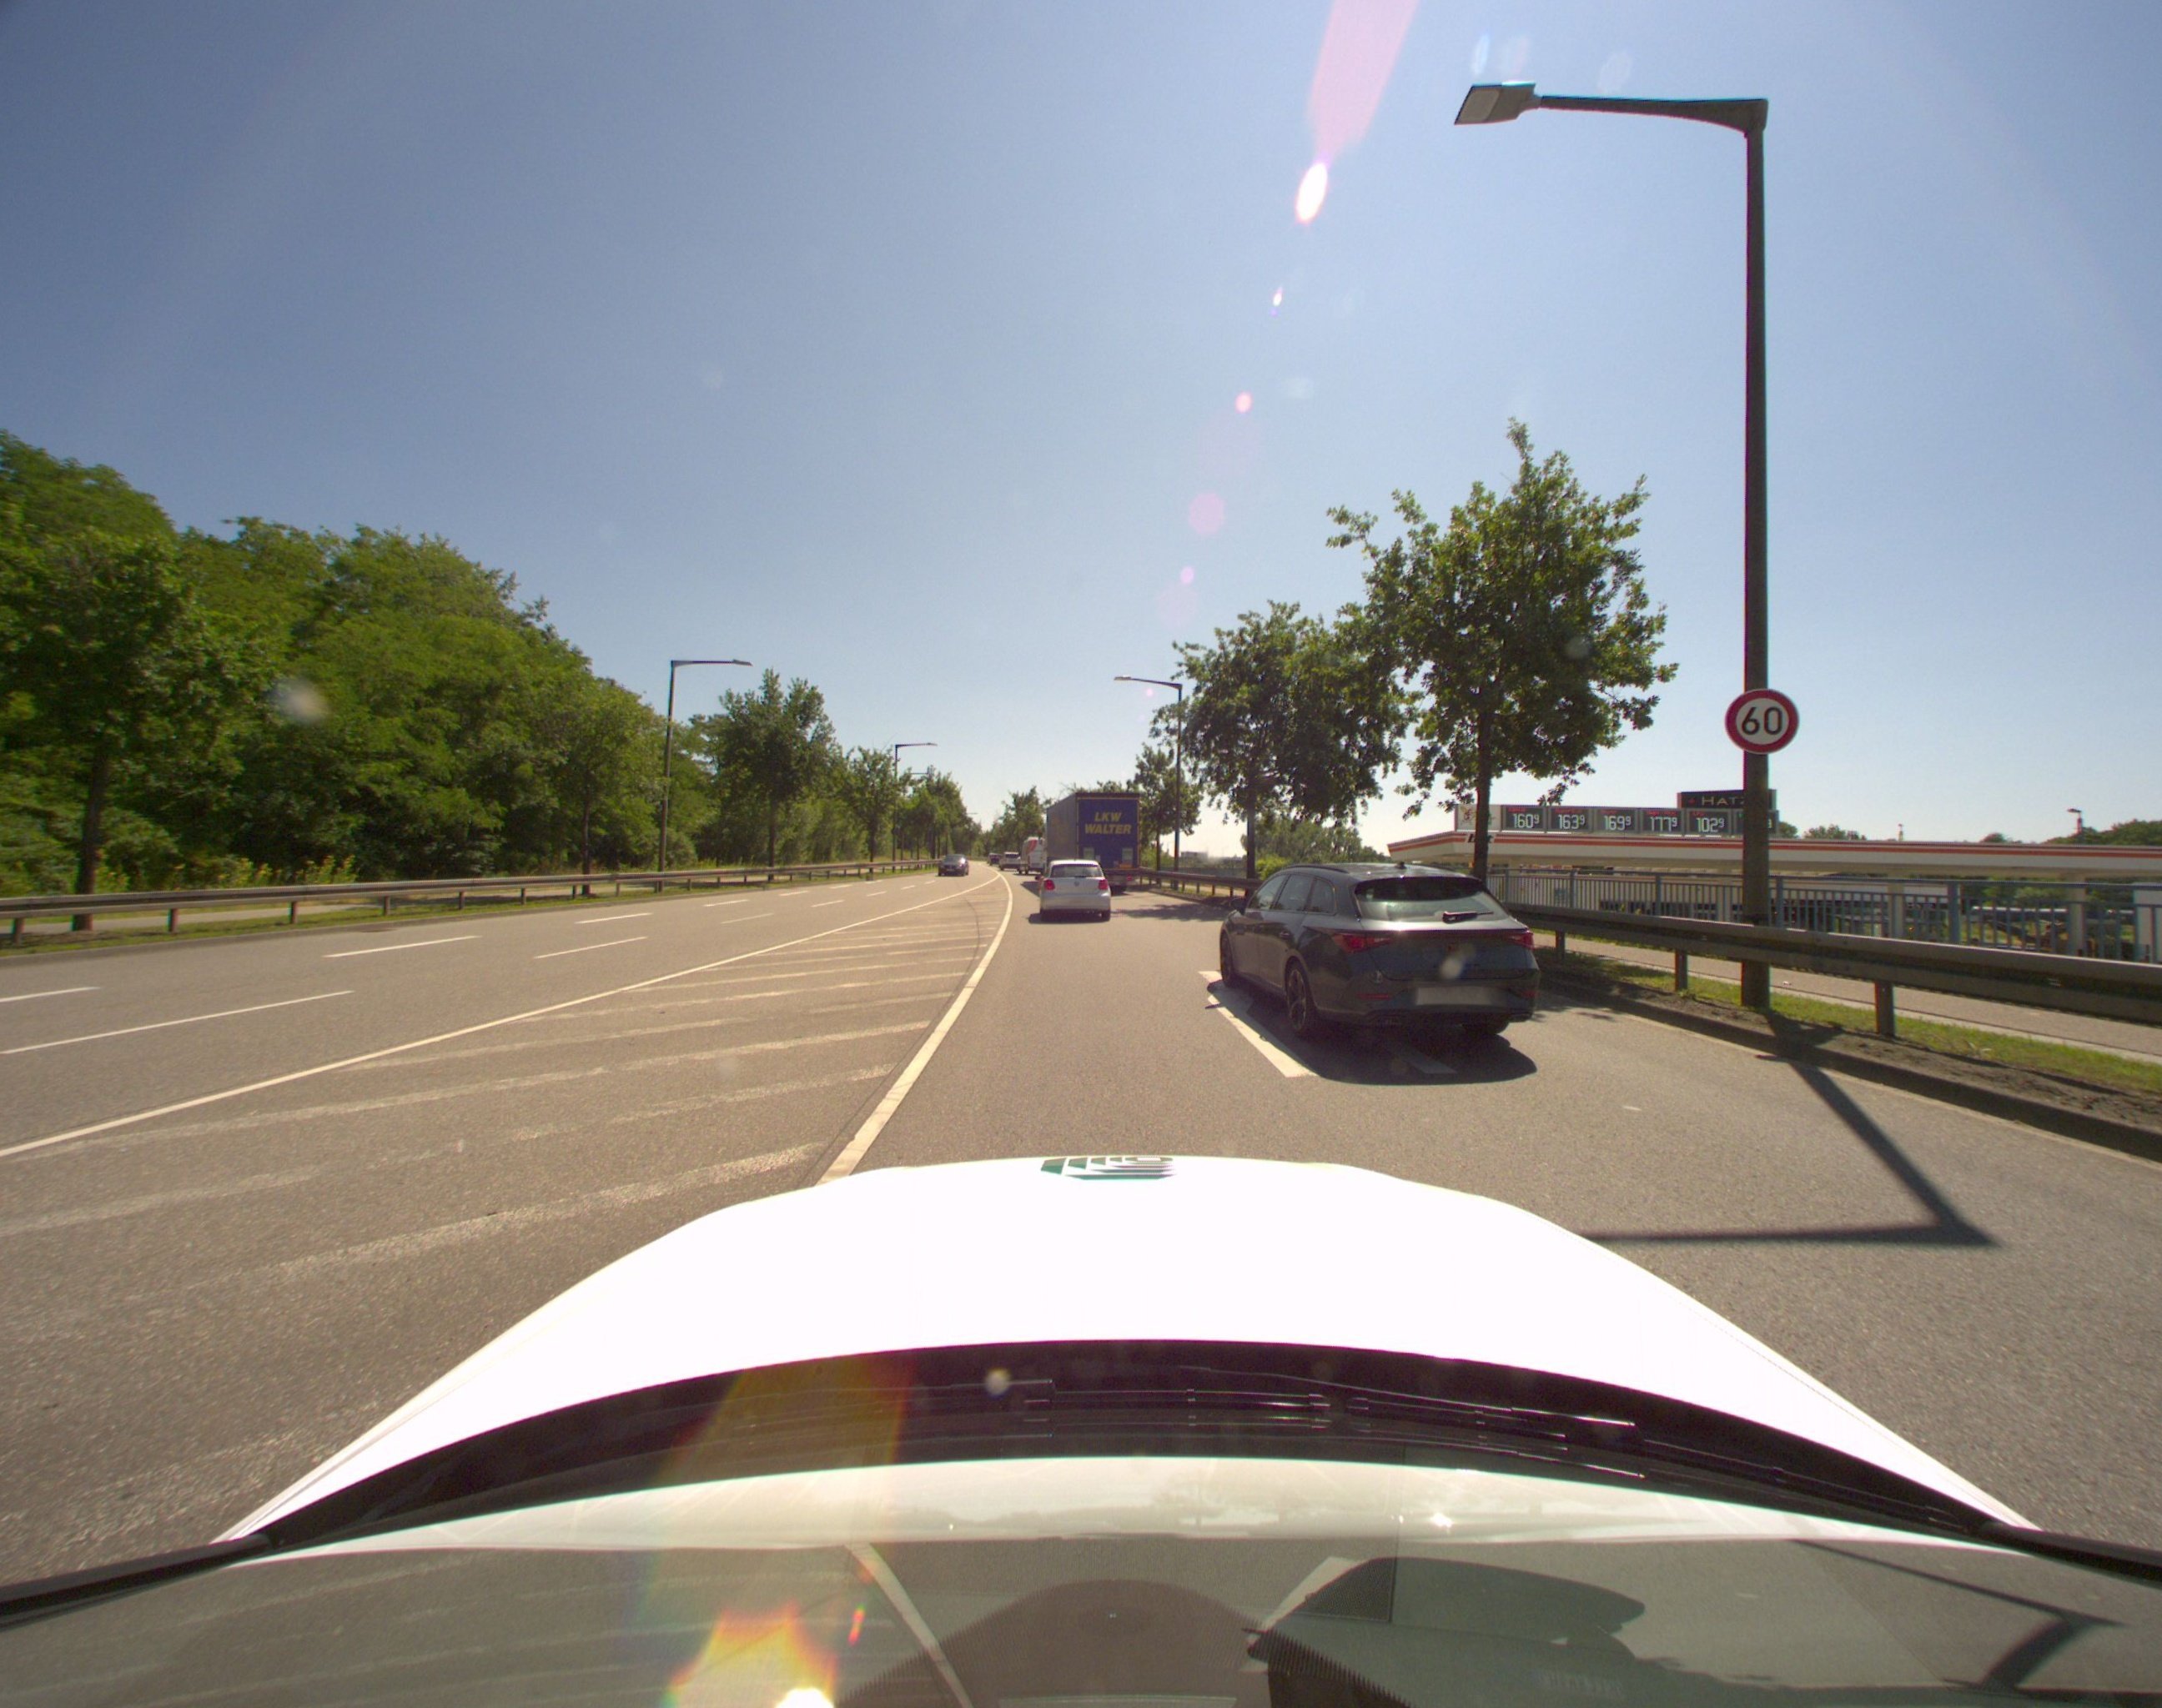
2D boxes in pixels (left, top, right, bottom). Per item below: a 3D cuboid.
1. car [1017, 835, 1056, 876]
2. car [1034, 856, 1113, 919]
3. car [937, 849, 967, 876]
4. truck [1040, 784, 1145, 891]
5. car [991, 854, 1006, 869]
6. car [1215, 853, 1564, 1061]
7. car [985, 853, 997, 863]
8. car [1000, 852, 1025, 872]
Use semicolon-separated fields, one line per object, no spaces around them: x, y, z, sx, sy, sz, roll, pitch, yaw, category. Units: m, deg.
-3.444;0.110;61.786;2.176;2.900;6.334;0;0;-11;car
-0.270;0.824;20.528;1.644;1.439;3.528;0;-2;-6;car
-8.639;0.551;54.822;1.676;1.671;3.749;-1;1;-4;car
0.061;-0.473;40.101;2.831;4.199;16.428;0;-1;-7;truck
-9.952;0.887;97.990;1.720;1.726;3.990;0;-2;-7;car
2.531;0.789;7.867;1.601;1.456;4.230;0;-2;-3;car
-12.290;0.595;111.905;1.606;1.360;3.654;0;-1;-6;car
-6.260;0.731;74.019;1.903;1.718;4.208;0;-2;-10;car
